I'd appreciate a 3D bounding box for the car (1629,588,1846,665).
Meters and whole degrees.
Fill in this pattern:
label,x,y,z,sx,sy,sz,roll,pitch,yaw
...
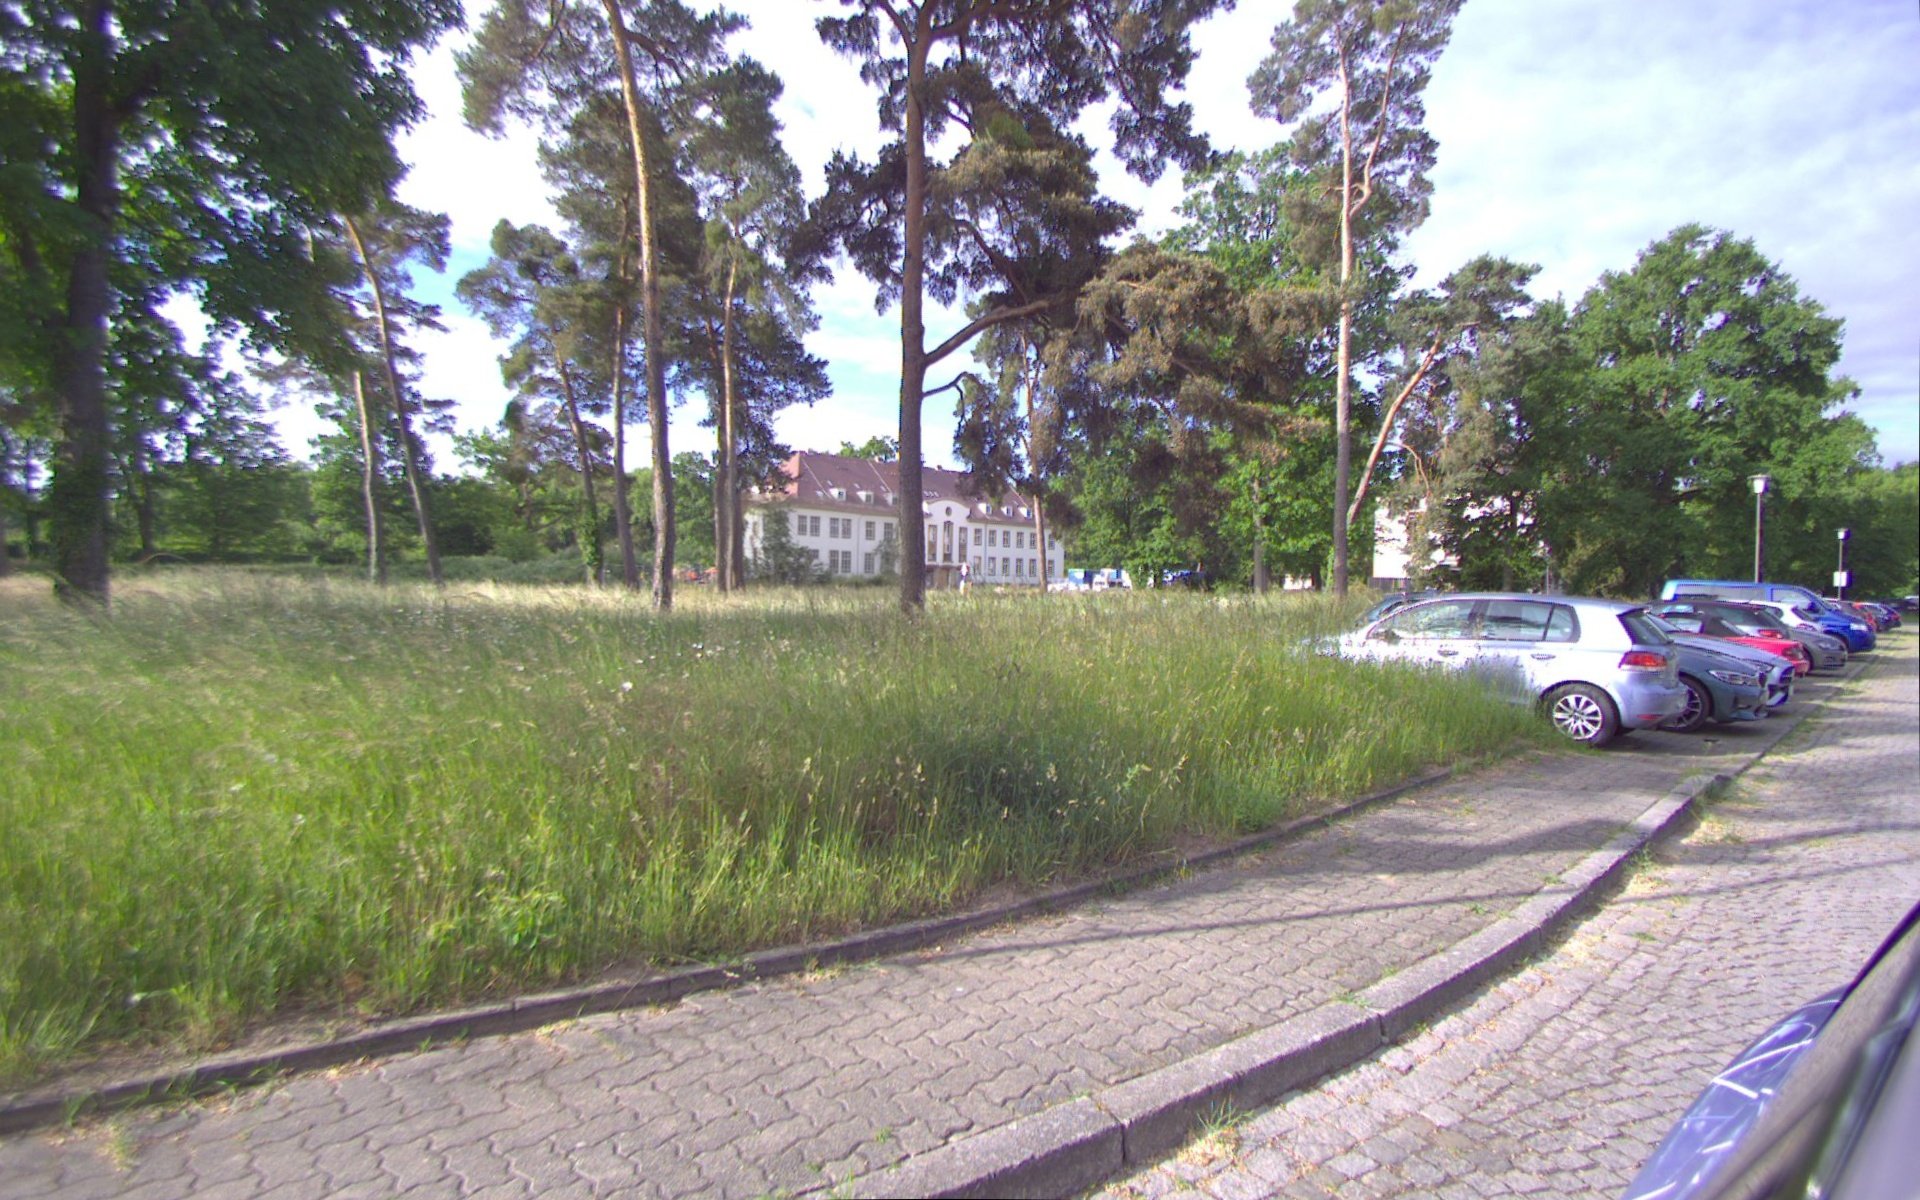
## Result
label,x,y,z,sx,sy,sz,roll,pitch,yaw
car,18.406,0.550,24.070,1.778,1.549,3.878,-1,3,-44

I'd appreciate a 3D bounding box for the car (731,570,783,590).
label,x,y,z,sx,sy,sz,roll,pitch,yaw
car,-22.334,-2.233,111.197,5.637,2.038,2.597,2,2,39

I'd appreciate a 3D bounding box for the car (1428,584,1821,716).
label,x,y,z,sx,sy,sz,roll,pitch,yaw
car,9.514,0.578,14.777,1.820,1.491,4.510,-1,3,-45

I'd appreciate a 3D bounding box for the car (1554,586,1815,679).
label,x,y,z,sx,sy,sz,roll,pitch,yaw
car,14.307,0.553,20.128,1.743,1.513,3.954,-1,3,-44

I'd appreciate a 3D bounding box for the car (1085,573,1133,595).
label,x,y,z,sx,sy,sz,roll,pitch,yaw
car,16.613,-1.805,112.638,5.861,2.328,2.165,0,2,-43

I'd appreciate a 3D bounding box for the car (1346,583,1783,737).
label,x,y,z,sx,sy,sz,roll,pitch,yaw
car,7.533,0.596,12.894,4.504,1.491,1.867,3,3,41

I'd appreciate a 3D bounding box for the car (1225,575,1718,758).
label,x,y,z,sx,sy,sz,roll,pitch,yaw
car,5.489,0.538,11.289,4.544,1.523,1.903,3,3,44

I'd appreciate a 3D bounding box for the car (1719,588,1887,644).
label,x,y,z,sx,sy,sz,roll,pitch,yaw
car,28.250,0.481,34.011,4.192,1.608,1.848,3,3,44

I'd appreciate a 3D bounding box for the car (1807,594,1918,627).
label,x,y,z,sx,sy,sz,roll,pitch,yaw
car,45.884,0.492,51.499,1.753,1.468,4.032,-1,3,-43

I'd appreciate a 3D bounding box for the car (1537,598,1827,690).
label,x,y,z,sx,sy,sz,roll,pitch,yaw
car,12.735,0.687,18.023,1.698,1.276,3.954,-1,3,-44

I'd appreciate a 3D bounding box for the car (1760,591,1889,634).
label,x,y,z,sx,sy,sz,roll,pitch,yaw
car,35.243,0.457,41.298,3.879,1.491,1.660,4,3,44

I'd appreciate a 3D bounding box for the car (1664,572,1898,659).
label,x,y,z,sx,sy,sz,roll,pitch,yaw
car,22.294,0.328,27.626,4.736,1.952,1.960,5,4,44

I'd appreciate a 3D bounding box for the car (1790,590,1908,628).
label,x,y,z,sx,sy,sz,roll,pitch,yaw
car,42.454,0.387,48.397,4.128,1.588,1.719,3,3,45

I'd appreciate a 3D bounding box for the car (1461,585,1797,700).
label,x,y,z,sx,sy,sz,roll,pitch,yaw
car,10.833,0.575,16.623,1.712,1.491,4.344,-1,3,-45

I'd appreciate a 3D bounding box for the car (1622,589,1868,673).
label,x,y,z,sx,sy,sz,roll,pitch,yaw
car,16.759,0.580,21.734,1.801,1.485,3.954,-1,3,-44

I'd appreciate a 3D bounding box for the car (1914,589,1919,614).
label,x,y,z,sx,sy,sz,roll,pitch,yaw
car,82.114,0.159,83.339,1.968,2.066,5.068,0,1,-45
